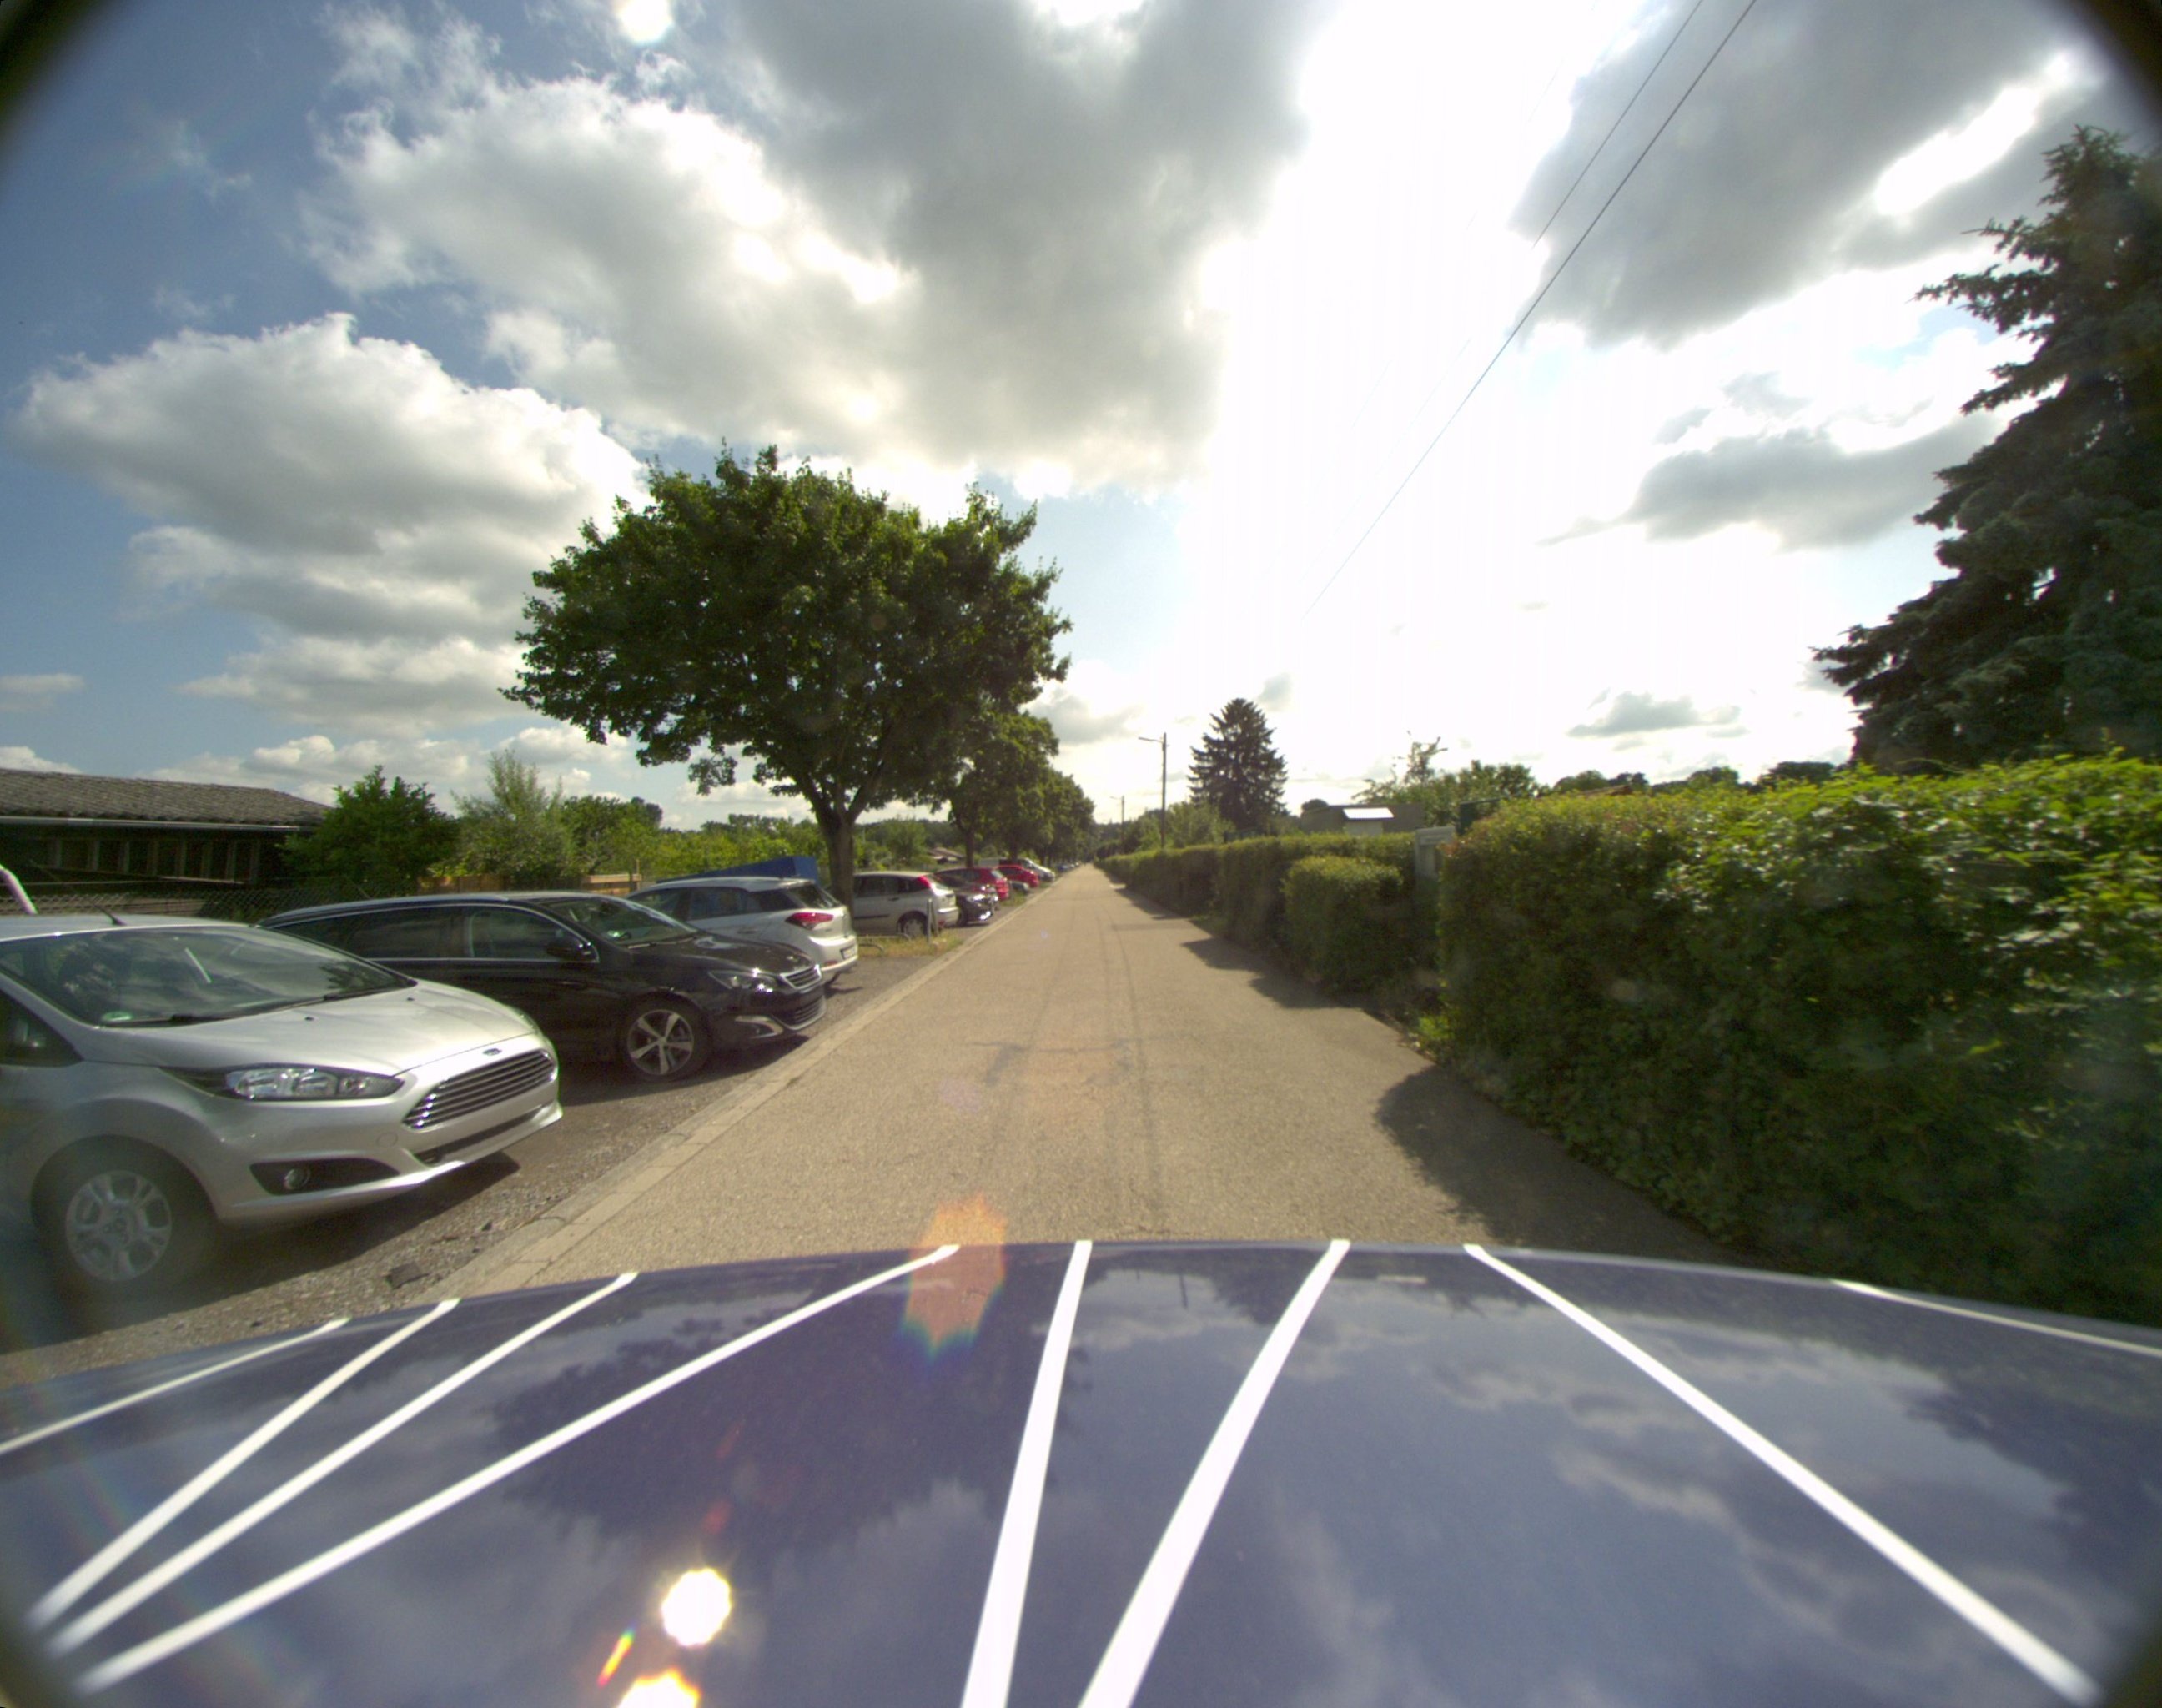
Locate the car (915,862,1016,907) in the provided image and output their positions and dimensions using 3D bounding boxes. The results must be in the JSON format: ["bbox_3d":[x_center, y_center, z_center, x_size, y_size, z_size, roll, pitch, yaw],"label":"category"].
[{"bbox_3d":[-4.690,1.238,31.187,3.773,1.564,1.869,-3,0,0],"label":"car"}]

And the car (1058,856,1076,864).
[{"bbox_3d":[-3.235,1.400,175.824,3.929,1.740,2.000,-3,0,0],"label":"car"}]

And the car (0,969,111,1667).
[{"bbox_3d":[-4.545,1.130,0.828,4.346,1.483,1.975,-3,0,0],"label":"car"}]

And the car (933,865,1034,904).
[{"bbox_3d":[-4.270,1.348,33.908,4.250,1.420,1.908,-3,0,-3],"label":"car"}]

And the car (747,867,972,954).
[{"bbox_3d":[-4.563,1.151,16.091,4.074,1.503,1.958,-3,0,3],"label":"car"}]

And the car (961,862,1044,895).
[{"bbox_3d":[-4.214,1.328,41.130,4.193,1.495,1.878,-3,0,2],"label":"car"}]

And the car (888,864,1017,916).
[{"bbox_3d":[-4.370,1.225,26.258,3.996,1.511,1.855,-3,0,4],"label":"car"}]

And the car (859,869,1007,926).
[{"bbox_3d":[-4.365,1.278,22.830,3.919,1.415,1.958,-3,0,3],"label":"car"}]

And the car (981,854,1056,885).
[{"bbox_3d":[-3.928,0.992,48.775,4.646,1.875,2.111,-1,0,-1],"label":"car"}]

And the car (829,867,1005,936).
[{"bbox_3d":[-4.104,1.183,19.555,4.076,1.447,1.869,-3,0,-2],"label":"car"}]

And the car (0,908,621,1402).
[{"bbox_3d":[-4.657,1.161,3.511,3.822,1.483,1.902,-3,0,0],"label":"car"}]

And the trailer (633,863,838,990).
[{"bbox_3d":[-5.282,1.069,11.867,2.456,1.710,1.518,-3,-1,-3],"label":"trailer"}]

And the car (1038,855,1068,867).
[{"bbox_3d":[-3.915,1.041,107.084,4.116,1.573,1.781,-2,0,-1],"label":"car"}]

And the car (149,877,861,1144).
[{"bbox_3d":[-4.325,1.131,6.331,4.313,1.584,2.000,-3,0,0],"label":"car"}]

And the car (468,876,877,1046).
[{"bbox_3d":[-4.555,1.152,8.979,3.733,1.531,1.849,-3,0,-2],"label":"car"}]

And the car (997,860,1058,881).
[{"bbox_3d":[-4.071,1.252,58.481,4.590,1.457,2.000,-2,0,-3],"label":"car"}]
